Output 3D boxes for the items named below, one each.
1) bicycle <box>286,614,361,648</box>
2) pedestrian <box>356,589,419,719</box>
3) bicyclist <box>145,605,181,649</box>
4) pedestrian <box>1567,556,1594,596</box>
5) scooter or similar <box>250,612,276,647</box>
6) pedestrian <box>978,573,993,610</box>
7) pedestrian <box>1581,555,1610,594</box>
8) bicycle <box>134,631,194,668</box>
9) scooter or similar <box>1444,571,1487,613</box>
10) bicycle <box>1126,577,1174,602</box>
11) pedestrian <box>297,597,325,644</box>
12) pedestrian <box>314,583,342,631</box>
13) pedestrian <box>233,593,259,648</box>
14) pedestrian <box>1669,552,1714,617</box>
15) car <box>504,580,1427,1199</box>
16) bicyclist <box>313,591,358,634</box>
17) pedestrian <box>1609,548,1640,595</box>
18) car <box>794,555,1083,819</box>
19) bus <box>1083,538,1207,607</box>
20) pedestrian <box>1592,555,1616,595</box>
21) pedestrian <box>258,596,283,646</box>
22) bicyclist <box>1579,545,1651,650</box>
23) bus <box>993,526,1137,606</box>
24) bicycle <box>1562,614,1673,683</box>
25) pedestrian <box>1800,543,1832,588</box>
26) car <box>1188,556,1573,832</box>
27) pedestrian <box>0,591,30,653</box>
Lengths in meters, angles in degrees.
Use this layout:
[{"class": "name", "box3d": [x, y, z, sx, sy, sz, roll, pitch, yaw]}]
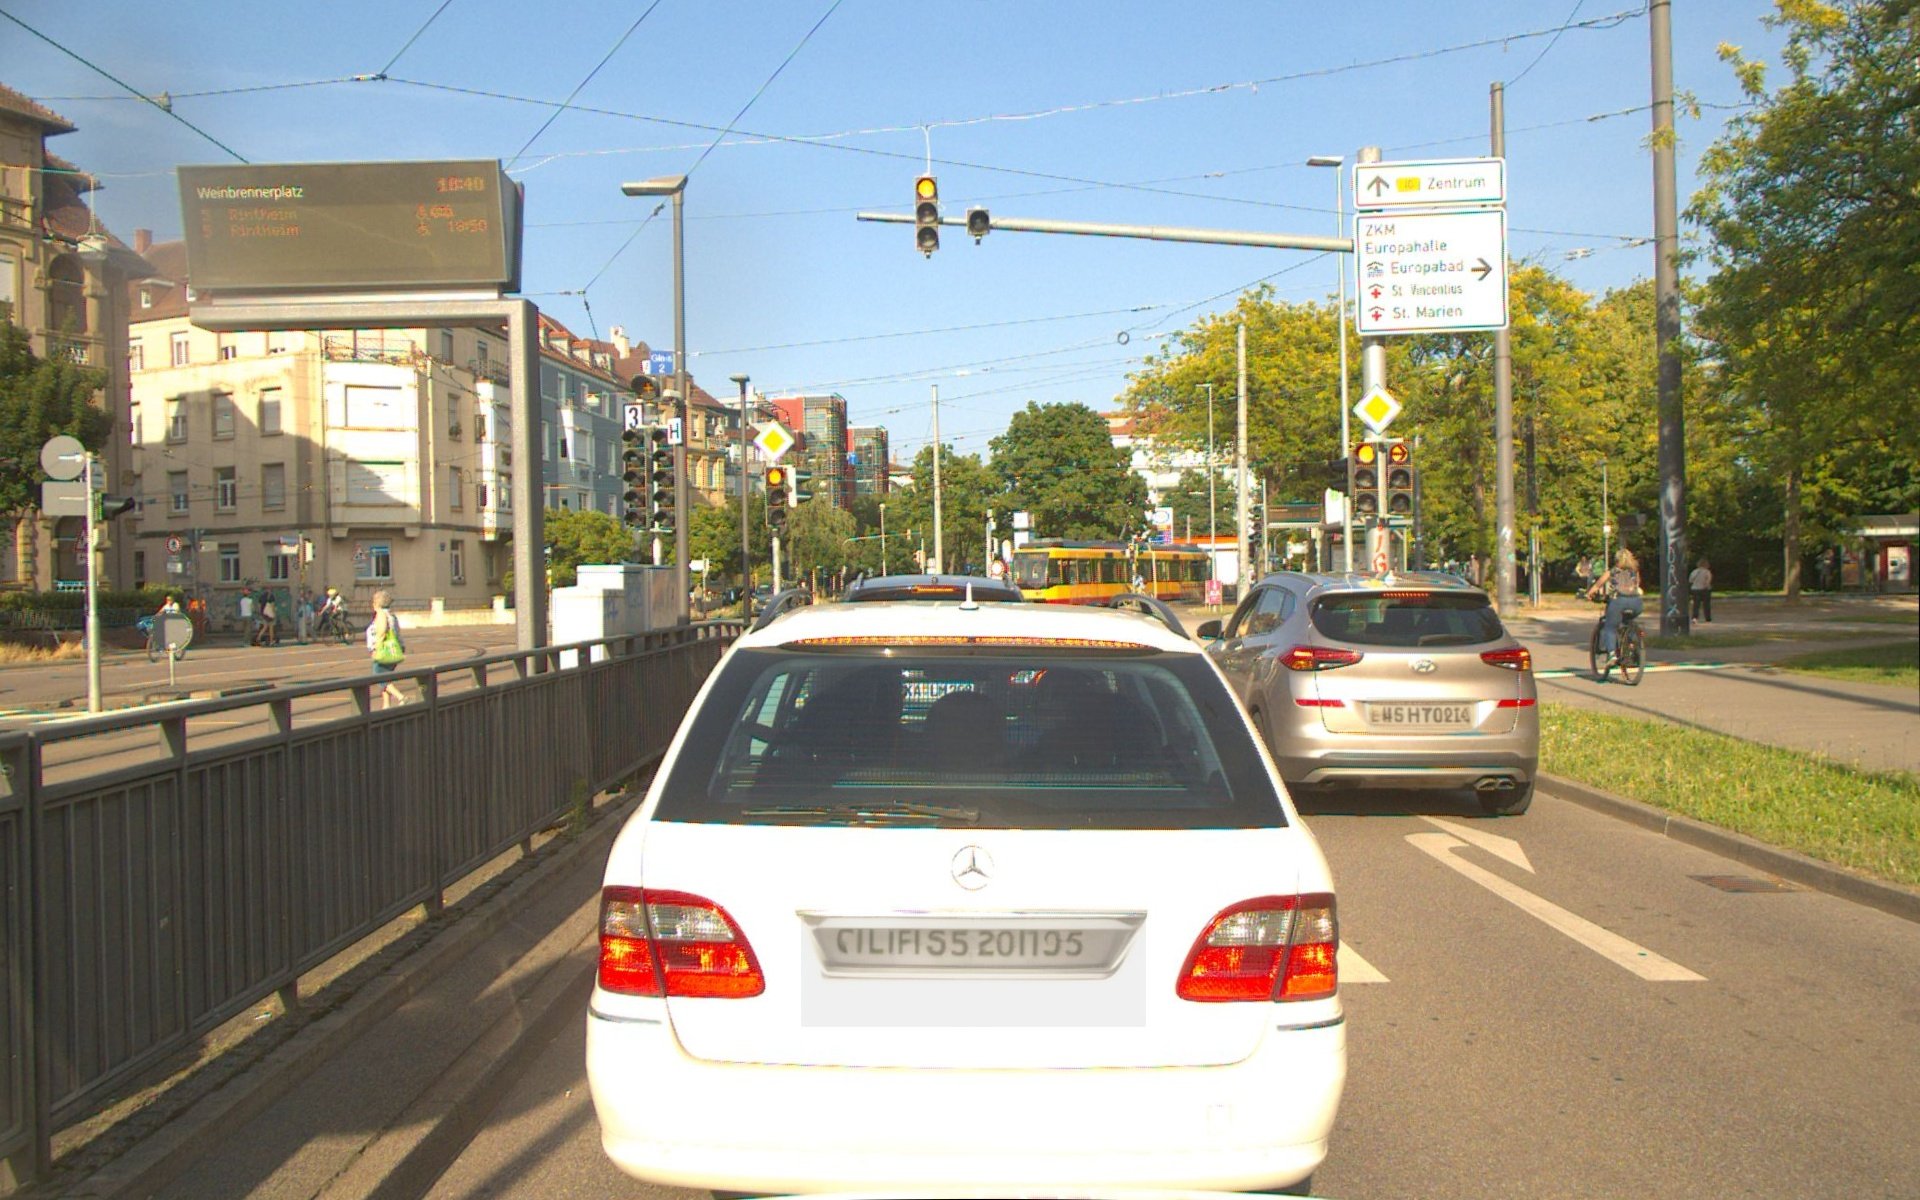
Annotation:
[{"class": "bicycle", "box3d": [-19.136, 0.912, 49.794, 0.768, 0.930, 3.000, -1, 0, 7]}, {"class": "pedestrian", "box3d": [-7.357, 0.684, 21.266, 0.601, 1.627, 0.632, -1, 0, -7]}, {"class": "bicyclist", "box3d": [-19.880, 0.674, 41.283, 0.502, 1.062, 0.680, -1, 0, 7]}, {"class": "pedestrian", "box3d": [24.058, -0.917, 64.132, 0.809, 1.513, 0.690, -2, 0, -42]}, {"class": "scooter or similar", "box3d": [-21.816, 0.926, 51.782, 0.532, 1.098, 0.683, 1, 0, -1]}, {"class": "pedestrian", "box3d": [1.342, -0.443, 87.010, 0.628, 1.889, 0.552, -1, 0, 11]}, {"class": "pedestrian", "box3d": [24.866, -0.983, 64.753, 0.799, 1.513, 0.699, -1, 0, -12]}, {"class": "bicycle", "box3d": [-19.865, 1.224, 41.306, 0.515, 0.849, 1.688, -1, 0, 7]}, {"class": "scooter or similar", "box3d": [13.987, -0.212, 45.815, 0.413, 1.136, 1.322, -1, 0, -20]}, {"class": "bicycle", "box3d": [9.788, -0.533, 85.301, 2.430, 1.234, 0.807, -1, 0, 7]}, {"class": "pedestrian", "box3d": [-21.802, 0.683, 55.556, 0.616, 1.568, 0.711, -1, 0, -1]}, {"class": "pedestrian", "box3d": [-27.087, 0.288, 70.892, 0.758, 2.049, 0.787, -1, 0, 14]}, {"class": "pedestrian", "box3d": [-22.061, 0.631, 51.102, 0.497, 1.654, 0.608, -1, 0, 0]}, {"class": "pedestrian", "box3d": [18.918, -0.394, 42.775, 0.748, 1.665, 0.797, -2, 0, -40]}, {"class": "car", "box3d": [-0.014, 0.699, 4.981, 1.759, 1.496, 3.647, 0, 0, -1]}, {"class": "bicyclist", "box3d": [-19.038, 0.374, 50.430, 0.747, 1.284, 1.175, -1, 0, 9]}, {"class": "pedestrian", "box3d": [25.884, -1.112, 64.413, 0.784, 1.816, 0.838, -1, 0, -5]}, {"class": "car", "box3d": [-0.157, 0.554, 12.528, 1.846, 1.680, 3.647, 1, 0, -1]}, {"class": "bus", "box3d": [10.861, -1.467, 95.392, 3.048, 3.669, 12.578, 1, 0, 26]}, {"class": "pedestrian", "box3d": [24.606, -0.963, 63.237, 0.797, 1.513, 0.700, -1, 0, 24]}, {"class": "pedestrian", "box3d": [-21.254, 0.651, 50.989, 0.428, 1.527, 0.549, -1, 0, 14]}, {"class": "bicyclist", "box3d": [8.242, -0.034, 20.840, 0.523, 1.284, 0.869, -1, 0, -1]}, {"class": "bus", "box3d": [5.566, -1.586, 84.042, 3.047, 3.669, 12.366, 1, 0, 25]}, {"class": "bicycle", "box3d": [8.257, 0.593, 20.872, 0.485, 0.770, 2.168, -2, 0, -1]}, {"class": "pedestrian", "box3d": [32.688, -1.309, 63.153, 0.818, 1.665, 0.803, -1, 0, 5]}, {"class": "car", "box3d": [2.894, 0.575, 12.209, 1.846, 1.680, 3.647, -2, 0, -1]}, {"class": "pedestrian", "box3d": [-24.803, 0.581, 42.953, 0.812, 1.579, 0.782, -1, 0, 21]}]
